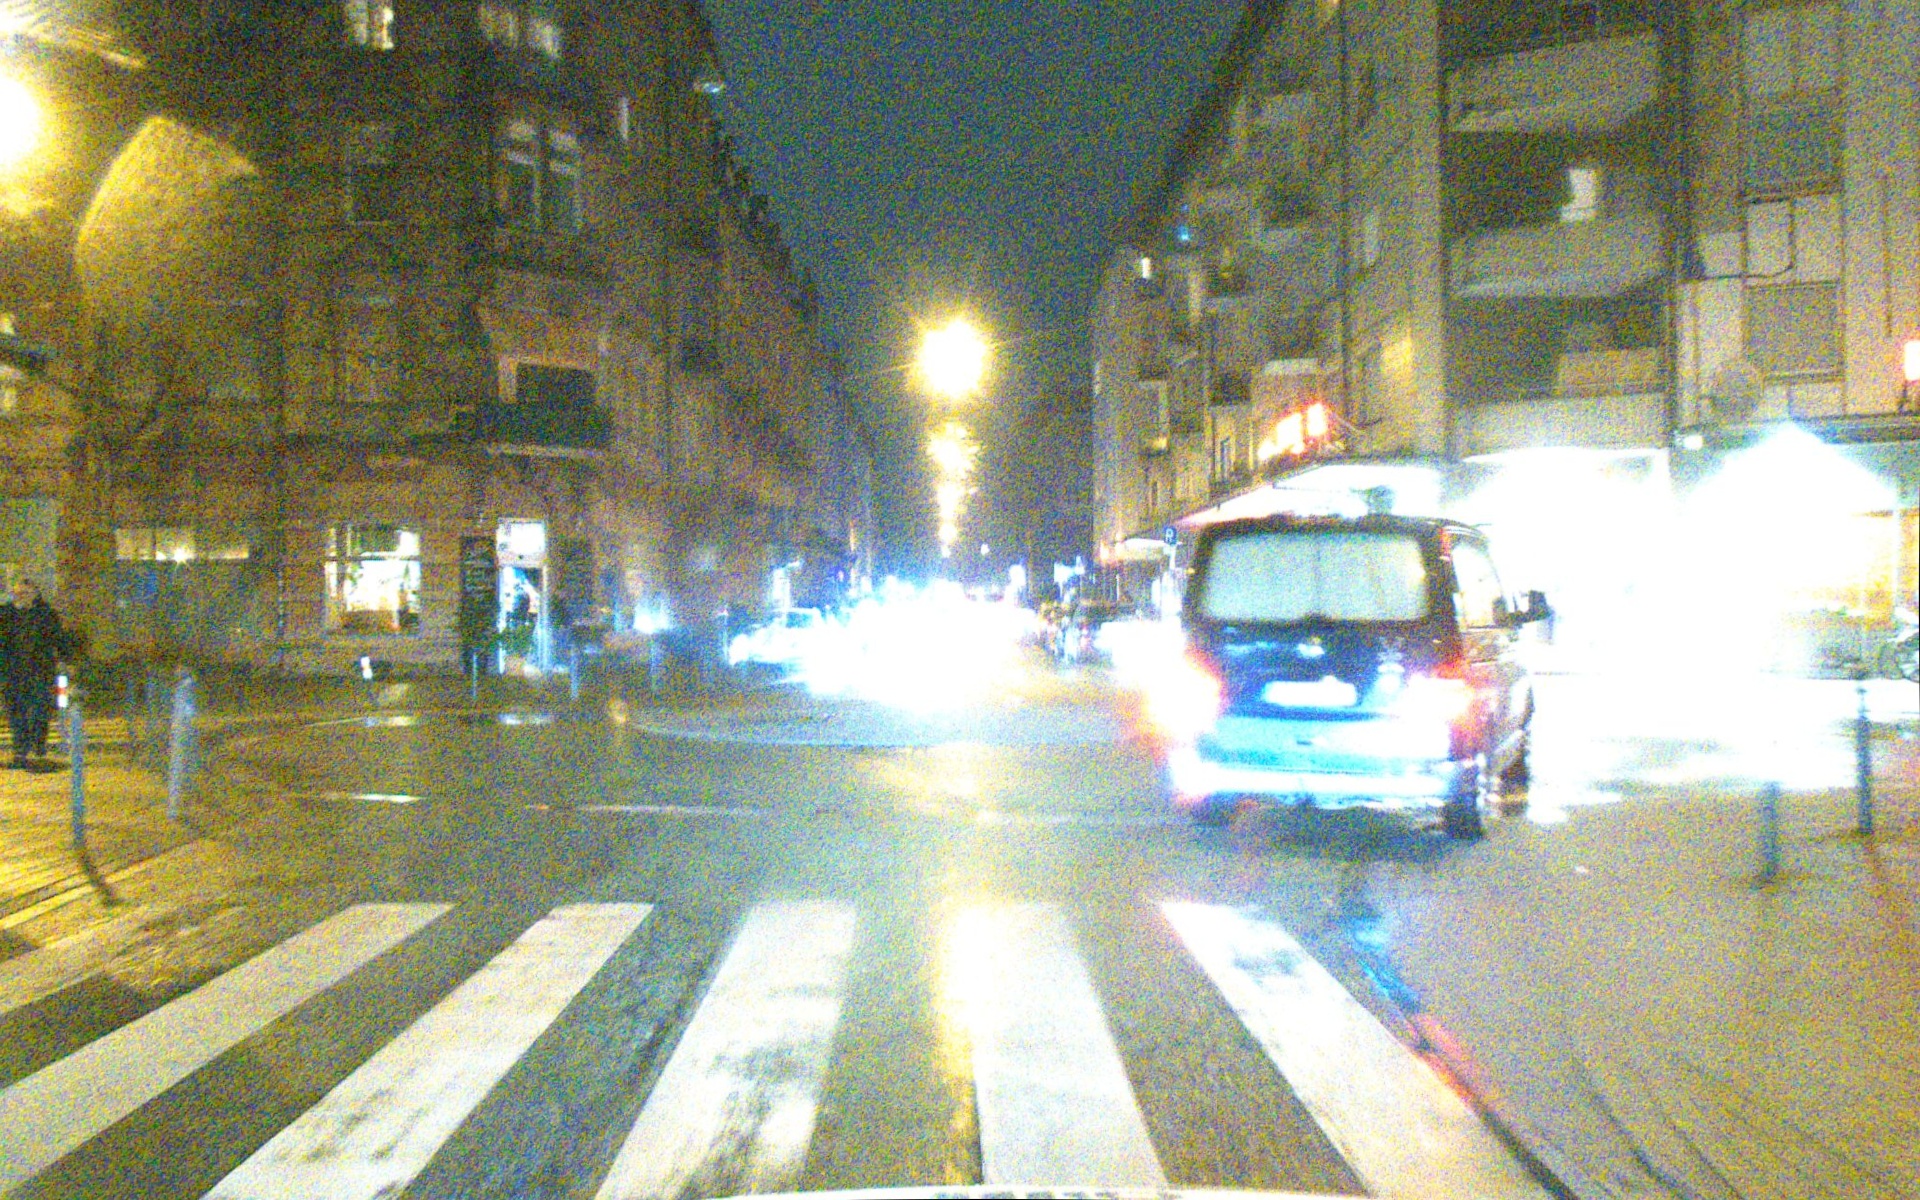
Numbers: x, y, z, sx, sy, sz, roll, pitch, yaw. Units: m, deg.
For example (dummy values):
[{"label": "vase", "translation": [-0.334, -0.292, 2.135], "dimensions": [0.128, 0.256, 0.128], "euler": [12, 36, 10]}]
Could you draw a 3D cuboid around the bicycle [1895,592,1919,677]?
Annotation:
[{"label": "bicycle", "translation": [14.105, 0.501, 23.300], "dimensions": [1.610, 1.195, 0.383], "euler": [1, -2, 28]}]

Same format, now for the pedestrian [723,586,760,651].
[{"label": "pedestrian", "translation": [-6.195, 0.527, 47.001], "dimensions": [0.787, 1.797, 1.016], "euler": [1, -1, 5]}]

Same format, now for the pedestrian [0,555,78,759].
[{"label": "pedestrian", "translation": [-9.120, 0.541, 16.268], "dimensions": [0.649, 1.942, 0.619], "euler": [-1, 0, -41]}]

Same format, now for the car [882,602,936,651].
[{"label": "car", "translation": [-1.622, 0.822, 53.615], "dimensions": [1.531, 1.452, 4.069], "euler": [-2, 0, 1]}]

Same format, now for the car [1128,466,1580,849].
[{"label": "car", "translation": [2.908, 0.310, 11.283], "dimensions": [2.081, 2.026, 4.597], "euler": [0, 0, 25]}]

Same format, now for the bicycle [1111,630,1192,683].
[{"label": "bicycle", "translation": [4.302, 1.270, 37.175], "dimensions": [1.747, 1.144, 0.435], "euler": [-1, 0, -3]}]

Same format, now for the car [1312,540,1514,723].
[{"label": "car", "translation": [5.401, 0.332, 20.301], "dimensions": [2.077, 1.956, 4.830], "euler": [0, 0, 12]}]

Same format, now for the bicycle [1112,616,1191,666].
[{"label": "bicycle", "translation": [4.392, 0.934, 37.929], "dimensions": [1.726, 1.098, 0.435], "euler": [-1, 0, -3]}]

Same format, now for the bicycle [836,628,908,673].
[{"label": "bicycle", "translation": [-2.203, 1.265, 41.468], "dimensions": [1.759, 1.078, 0.715], "euler": [-1, 0, -1]}]

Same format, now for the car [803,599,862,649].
[{"label": "car", "translation": [-3.908, 0.716, 50.968], "dimensions": [1.554, 1.474, 3.503], "euler": [0, 0, 0]}]

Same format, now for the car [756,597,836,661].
[{"label": "car", "translation": [-4.091, 0.699, 41.752], "dimensions": [1.554, 1.489, 4.024], "euler": [2, 0, 0]}]

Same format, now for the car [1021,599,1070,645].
[{"label": "car", "translation": [3.058, 0.799, 59.415], "dimensions": [1.559, 1.570, 3.419], "euler": [0, -1, 0]}]

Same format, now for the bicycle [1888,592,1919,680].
[{"label": "bicycle", "translation": [13.587, 0.489, 22.399], "dimensions": [1.747, 1.194, 0.384], "euler": [-1, 0, 28]}]

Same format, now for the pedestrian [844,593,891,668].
[{"label": "pedestrian", "translation": [-2.313, 0.747, 41.472], "dimensions": [1.099, 1.843, 0.714], "euler": [-1, 0, -1]}]

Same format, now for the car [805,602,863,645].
[{"label": "car", "translation": [-4.264, 0.779, 56.580], "dimensions": [1.655, 1.425, 4.316], "euler": [0, 0, 0]}]
